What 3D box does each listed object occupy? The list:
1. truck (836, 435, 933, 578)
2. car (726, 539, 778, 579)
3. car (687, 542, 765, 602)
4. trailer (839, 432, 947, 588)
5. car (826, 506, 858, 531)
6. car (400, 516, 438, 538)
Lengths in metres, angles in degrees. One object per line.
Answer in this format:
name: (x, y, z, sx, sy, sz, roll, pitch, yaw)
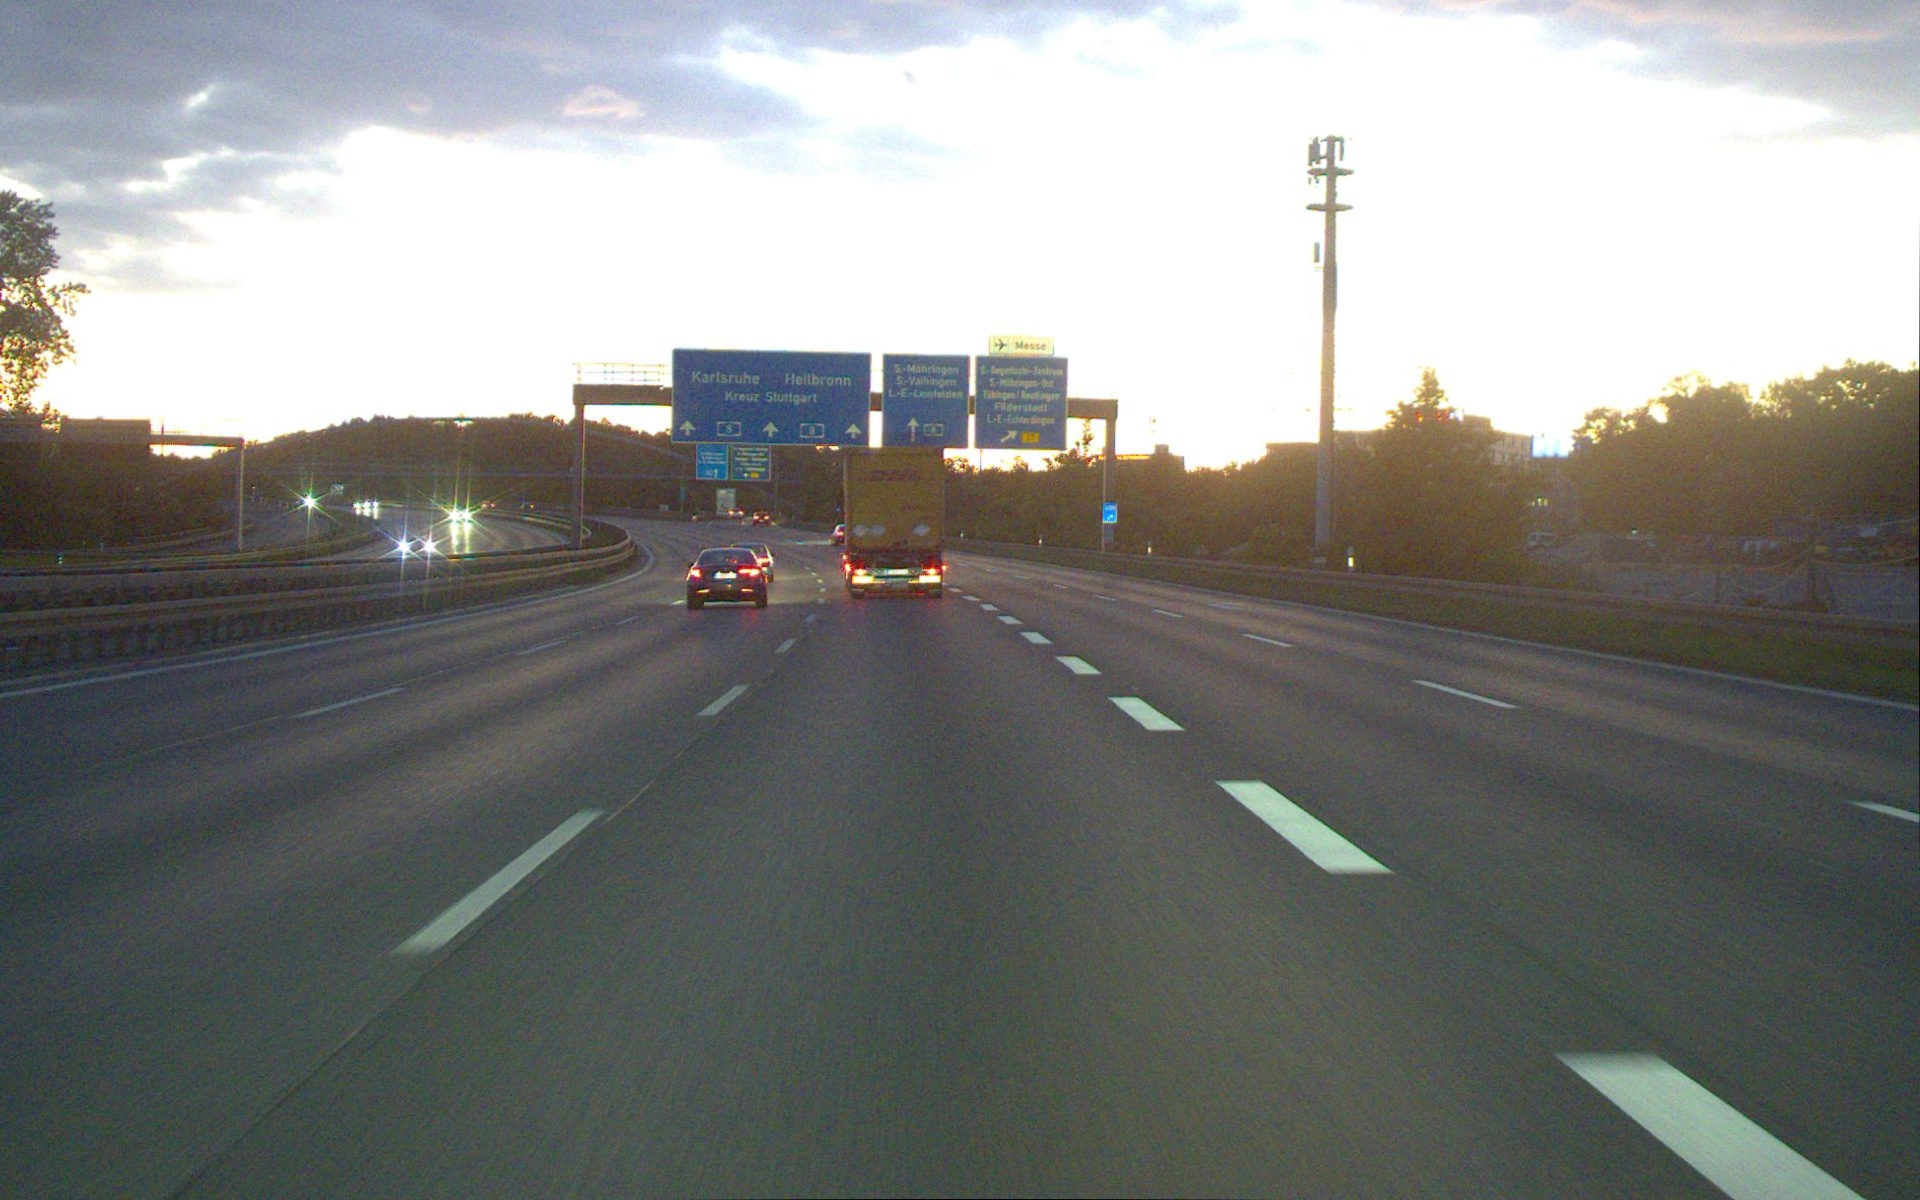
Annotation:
truck: (-2.354, -2.867, 103.669, 2.690, 4.057, 10.522, 0, 2, -2)
car: (-7.494, -1.470, 124.153, 1.689, 1.396, 3.409, -1, 0, -1)
car: (-5.601, -0.675, 81.965, 1.689, 1.396, 3.409, 0, 1, -7)
trailer: (-1.905, -2.509, 94.018, 2.721, 4.057, 8.833, 0, 2, -2)
car: (-8.362, -5.753, 243.447, 1.993, 1.711, 4.001, 0, 0, -7)
car: (-34.700, -4.686, 220.688, 1.993, 1.399, 4.330, 0, 1, -4)
